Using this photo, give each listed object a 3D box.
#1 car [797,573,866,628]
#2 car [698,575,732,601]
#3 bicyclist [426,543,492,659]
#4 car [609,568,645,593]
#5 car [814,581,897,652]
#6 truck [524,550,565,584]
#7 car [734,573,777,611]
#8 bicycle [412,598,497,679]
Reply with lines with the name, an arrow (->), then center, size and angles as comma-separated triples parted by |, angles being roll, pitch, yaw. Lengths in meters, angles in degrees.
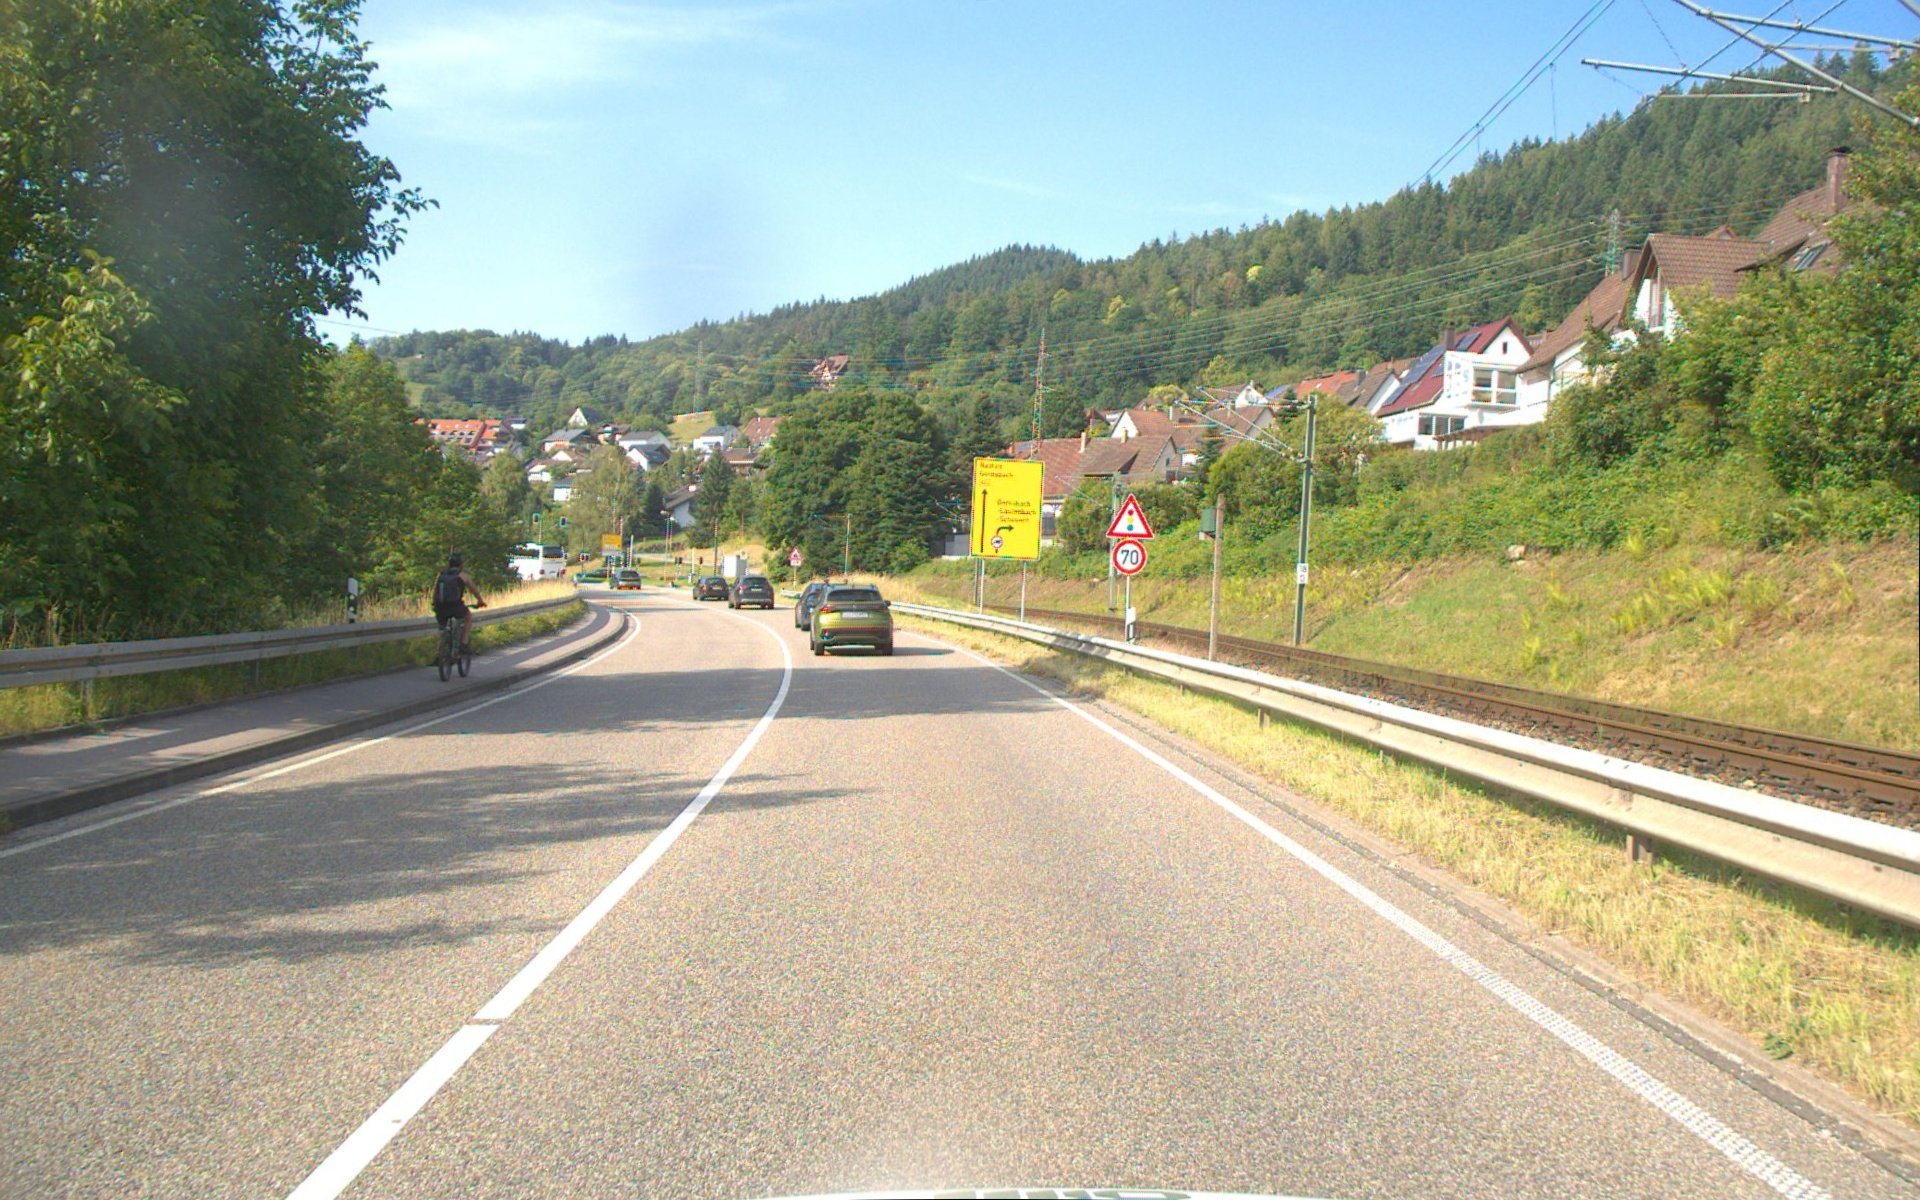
car -> -4.028, -0.011, 51.394 | 1.637, 1.586, 3.989 | 2, 0, -11
car -> -14.917, -0.741, 100.571 | 1.817, 1.553, 3.651 | 1, 1, -12
bicyclist -> -7.300, 0.003, 24.123 | 0.546, 1.614, 1.035 | 5, 0, -2
car -> -27.375, -1.611, 135.812 | 2.036, 1.842, 3.972 | 3, 0, -23
car -> -2.378, 0.318, 36.783 | 1.681, 1.480, 3.995 | 0, 1, -6
truck -> -41.085, -3.285, 163.580 | 2.679, 3.137, 6.057 | 1, 2, -27
car -> -10.031, -0.410, 80.872 | 1.846, 1.716, 3.990 | 2, 0, -10
bicycle -> -7.375, 0.538, 24.240 | 0.546, 1.063, 2.229 | 5, 1, -2
